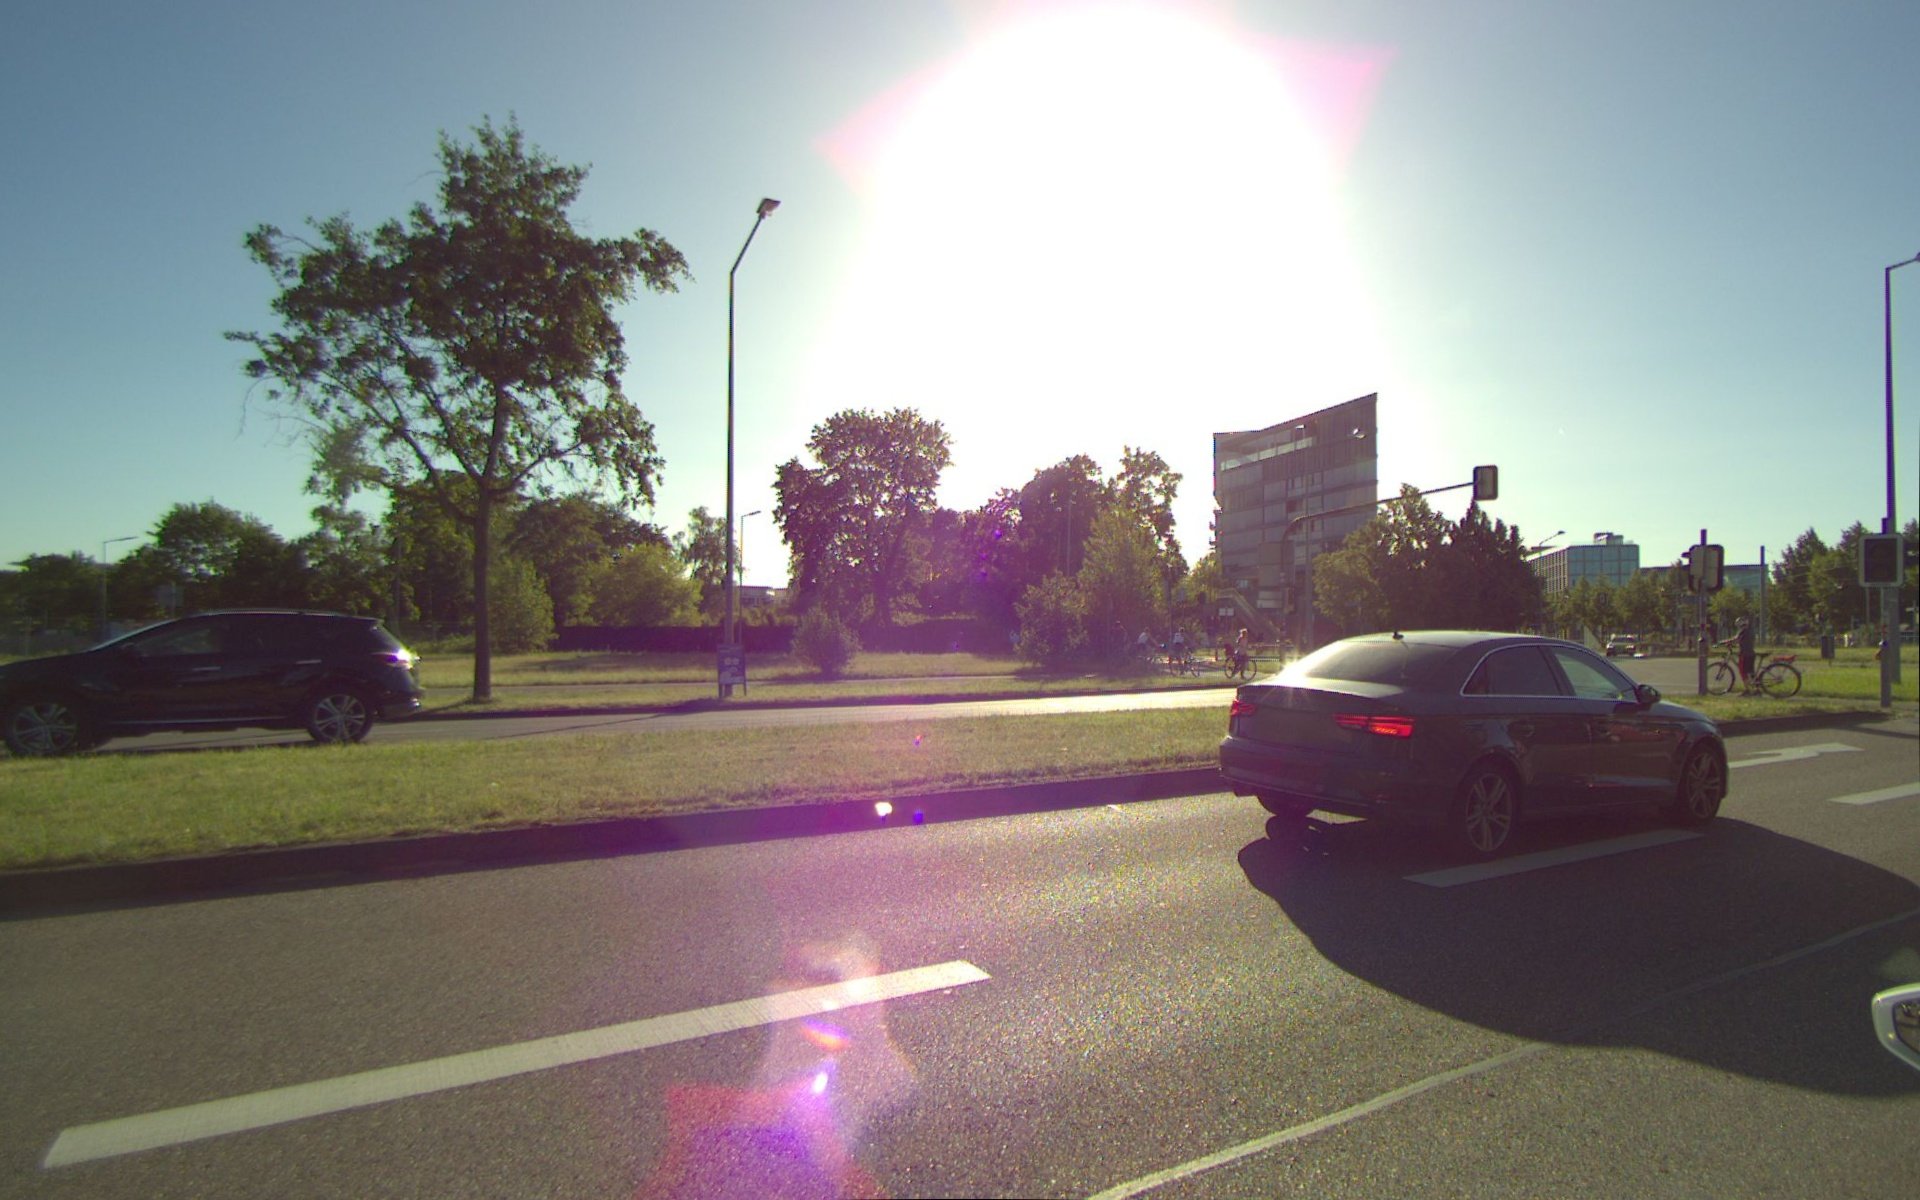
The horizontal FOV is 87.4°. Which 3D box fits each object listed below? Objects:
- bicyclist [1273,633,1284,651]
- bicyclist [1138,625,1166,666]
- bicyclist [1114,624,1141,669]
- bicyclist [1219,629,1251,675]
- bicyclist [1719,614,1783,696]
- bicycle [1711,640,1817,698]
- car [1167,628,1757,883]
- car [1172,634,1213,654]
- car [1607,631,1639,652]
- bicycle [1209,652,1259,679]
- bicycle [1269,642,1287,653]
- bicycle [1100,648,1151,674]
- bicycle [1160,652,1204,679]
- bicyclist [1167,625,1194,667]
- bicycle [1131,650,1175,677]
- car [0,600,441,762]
[{"bbox_3d":[29.765,3.927,93.886,0.651,1.601,0.833,0,-2,-11],"label":"bicyclist"},{"bbox_3d":[6.709,1.565,35.058,0.609,1.411,0.833,-2,-2,43],"label":"bicyclist"},{"bbox_3d":[5.968,1.663,35.846,0.840,1.584,0.430,1,-2,-26],"label":"bicyclist"},{"bbox_3d":[9.427,1.771,34.502,0.608,1.537,0.920,0,-2,-23],"label":"bicyclist"},{"bbox_3d":[16.792,1.154,21.327,0.698,1.685,0.932,2,-2,-39],"label":"bicyclist"},{"bbox_3d":[16.919,1.424,21.171,0.698,1.143,1.637,2,-2,-39],"label":"bicycle"},{"bbox_3d":[3.770,0.937,7.391,4.304,1.398,1.753,2,-2,-28],"label":"car"},{"bbox_3d":[22.931,4.327,99.155,3.695,1.829,1.827,1,-2,-27],"label":"car"},{"bbox_3d":[50.627,3.131,76.765,1.975,1.561,4.313,-1,-2,34],"label":"car"},{"bbox_3d":[9.404,2.243,34.537,0.608,0.864,1.879,0,-2,-23],"label":"bicycle"},{"bbox_3d":[29.735,4.442,93.865,0.650,1.001,2.259,0,-2,-10],"label":"bicycle"},{"bbox_3d":[5.902,2.164,35.801,1.864,0.864,0.488,1,-2,-26],"label":"bicycle"},{"bbox_3d":[7.619,2.221,34.472,0.608,0.864,1.878,-2,-2,43],"label":"bicycle"},{"bbox_3d":[7.574,1.573,34.465,0.609,1.411,0.715,-2,-2,43],"label":"bicyclist"},{"bbox_3d":[6.740,2.205,35.077,0.608,0.864,1.878,-2,-2,43],"label":"bicycle"},{"bbox_3d":[-9.295,0.961,12.752,4.684,1.761,1.984,2,-2,-31],"label":"car"}]
